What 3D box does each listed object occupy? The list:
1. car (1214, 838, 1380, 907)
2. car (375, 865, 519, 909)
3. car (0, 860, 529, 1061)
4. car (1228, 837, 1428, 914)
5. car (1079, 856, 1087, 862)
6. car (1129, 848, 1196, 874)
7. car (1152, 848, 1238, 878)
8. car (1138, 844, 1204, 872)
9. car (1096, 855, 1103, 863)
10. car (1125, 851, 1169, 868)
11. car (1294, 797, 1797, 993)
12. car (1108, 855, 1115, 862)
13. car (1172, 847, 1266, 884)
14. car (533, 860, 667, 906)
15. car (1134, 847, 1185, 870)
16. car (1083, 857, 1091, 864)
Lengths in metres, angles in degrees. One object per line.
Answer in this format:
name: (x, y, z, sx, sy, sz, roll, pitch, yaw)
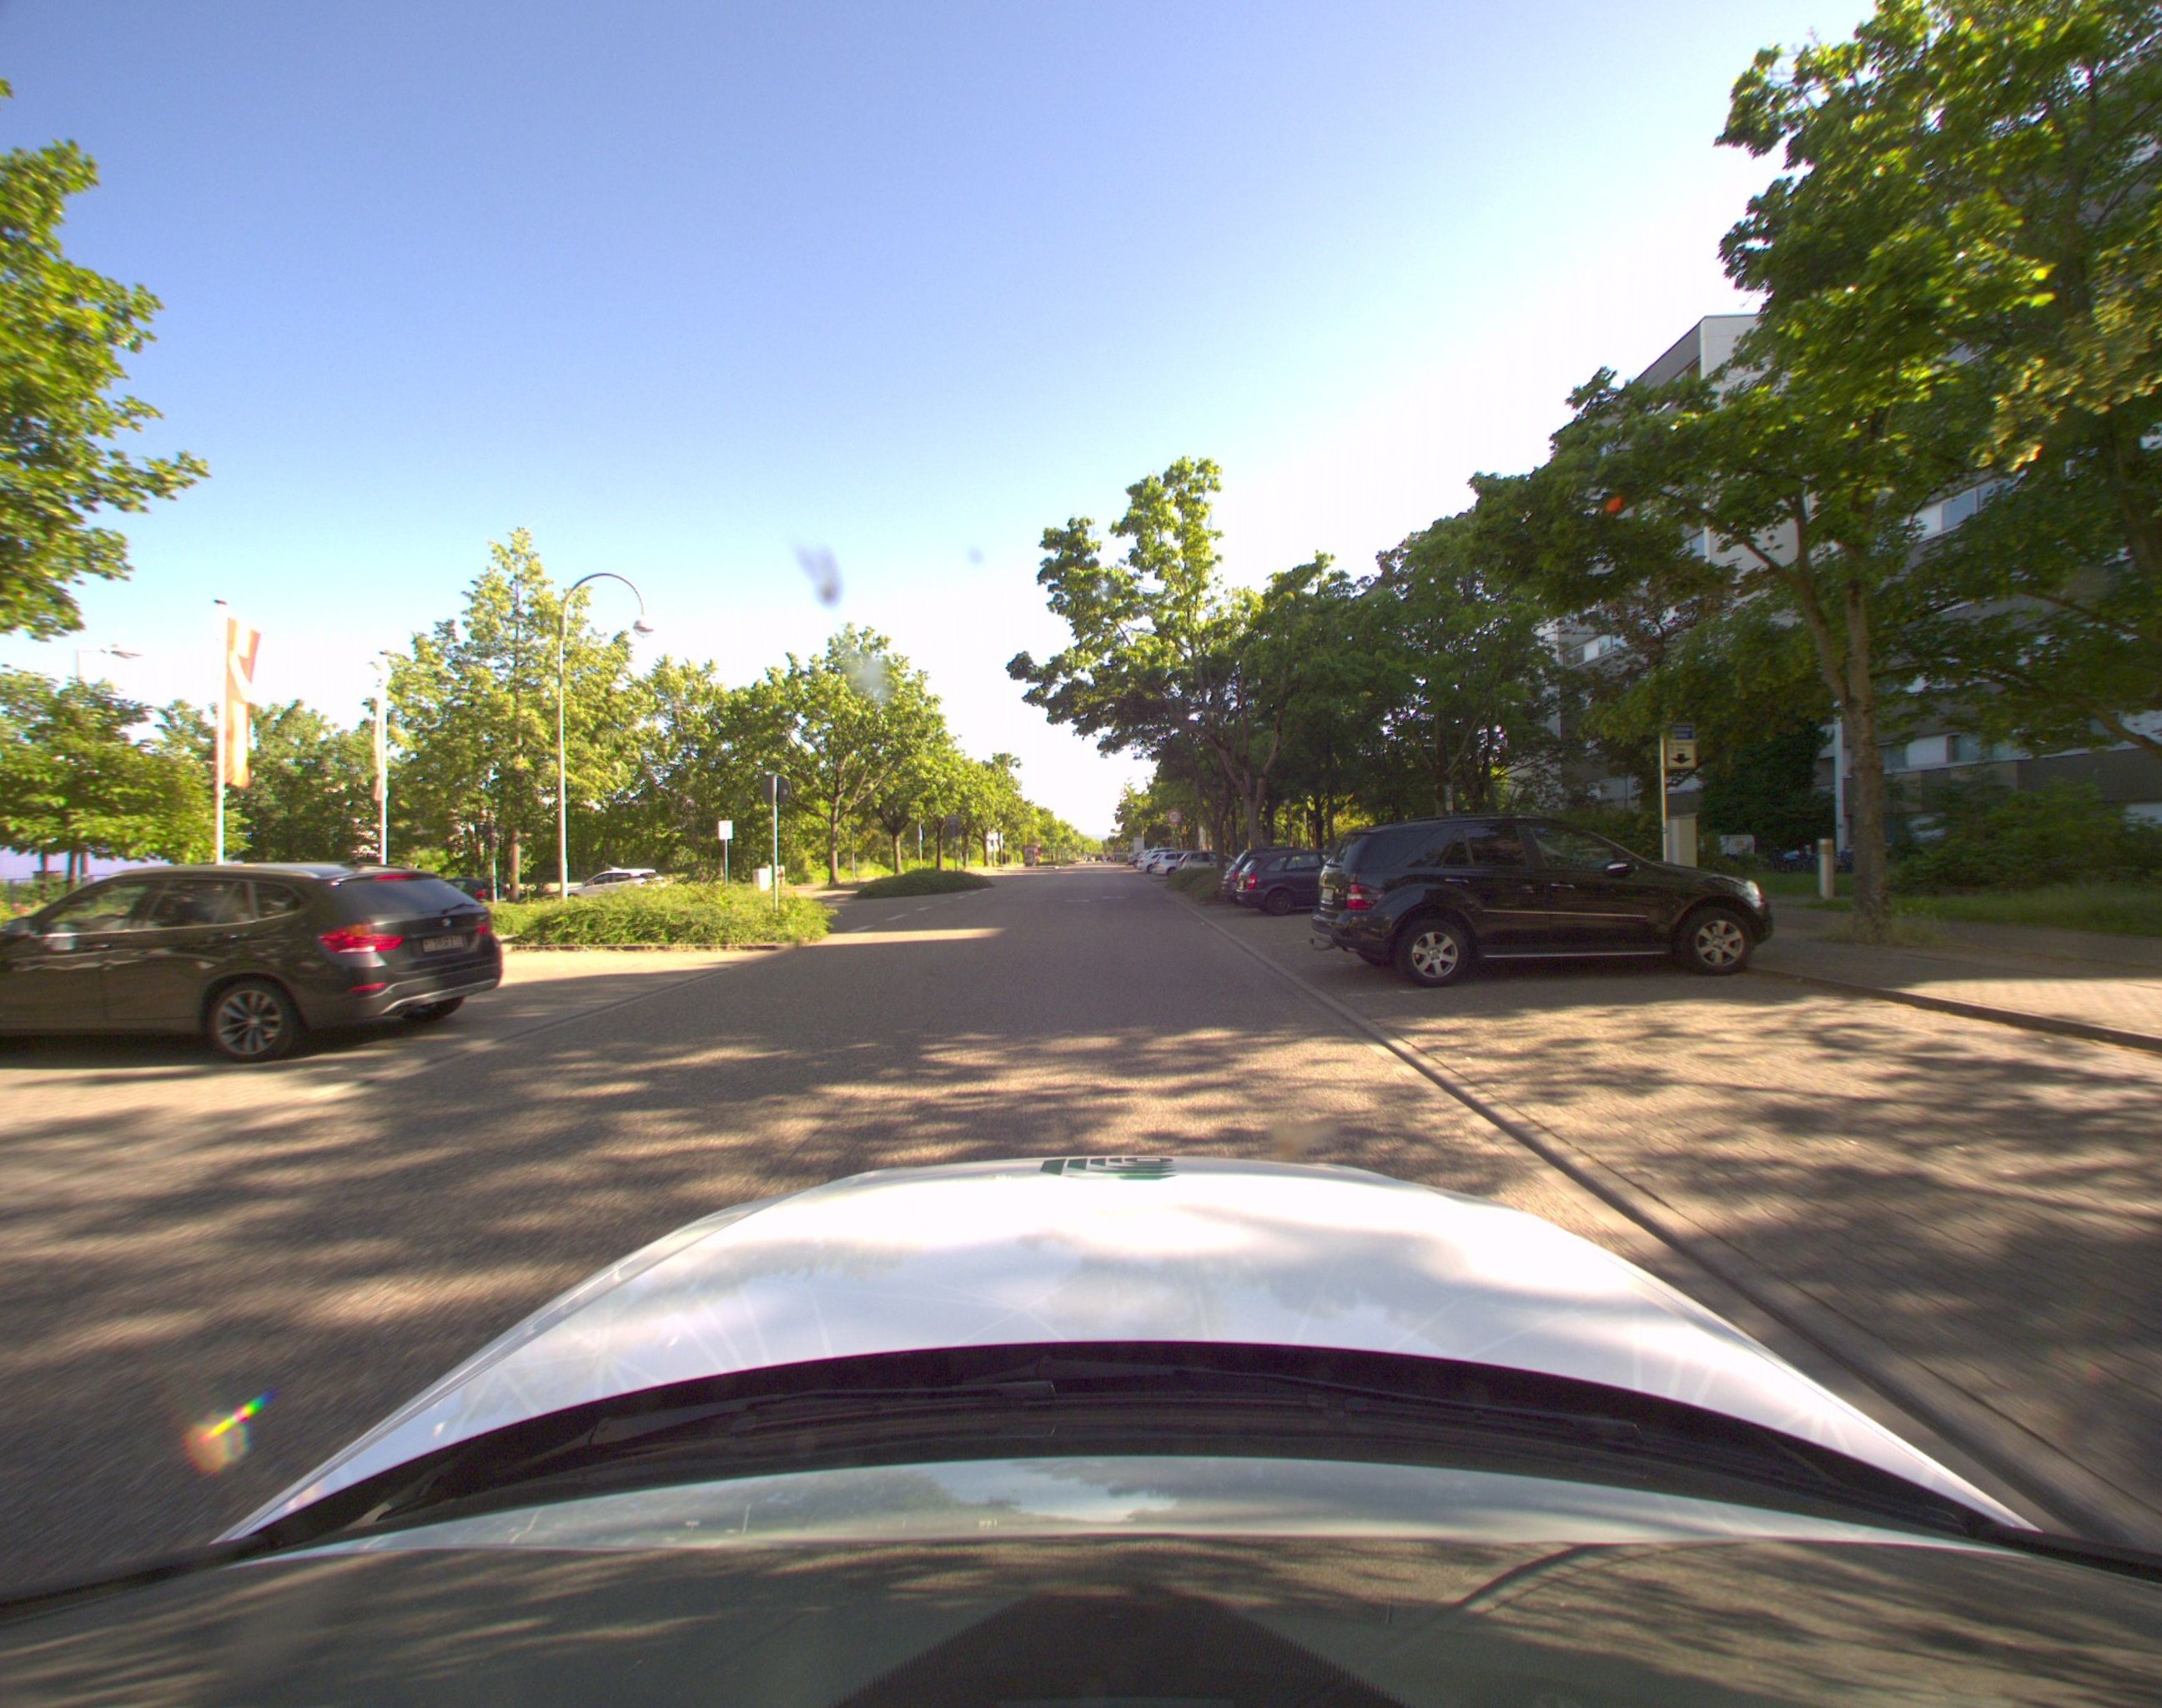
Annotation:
car: (5.577, 0.461, 21.315, 3.799, 1.499, 1.700, -4, 0, -2)
car: (-24.314, 1.249, 31.326, 4.040, 1.472, 1.831, -2, 0, 1)
car: (-7.558, 0.841, 7.183, 4.176, 1.520, 1.773, -1, 0, 2)
car: (5.506, 0.454, 18.533, 3.972, 1.387, 1.823, -4, 0, 1)
car: (0.632, 1.412, 235.576, 1.986, 1.802, 4.002, -1, 0, 2)
car: (5.539, 0.486, 55.688, 4.329, 1.489, 1.737, -4, 0, -1)
car: (5.817, 0.446, 41.694, 4.253, 1.428, 1.830, -1, 0, 6)
car: (6.440, 0.285, 58.375, 4.421, 1.647, 1.816, -4, 0, -1)
car: (5.248, 1.377, 230.912, 1.986, 2.013, 4.002, -1, 0, 2)
car: (6.496, 0.544, 80.049, 4.149, 1.428, 2.001, -4, 0, 1)
car: (5.011, 0.429, 9.352, 4.570, 1.779, 2.001, -3, 0, 1)
car: (8.797, 1.273, 233.081, 1.986, 2.013, 4.002, -1, 0, 2)
car: (6.209, 0.497, 36.938, 3.972, 1.451, 1.718, -3, 0, 1)
car: (-18.117, 1.079, 30.798, 4.060, 1.451, 1.626, -3, 0, 2)
car: (6.078, 0.342, 63.301, 3.677, 1.522, 1.650, -4, 0, -1)
car: (1.591, 1.605, 213.797, 1.821, 1.775, 3.741, -1, 0, 2)
